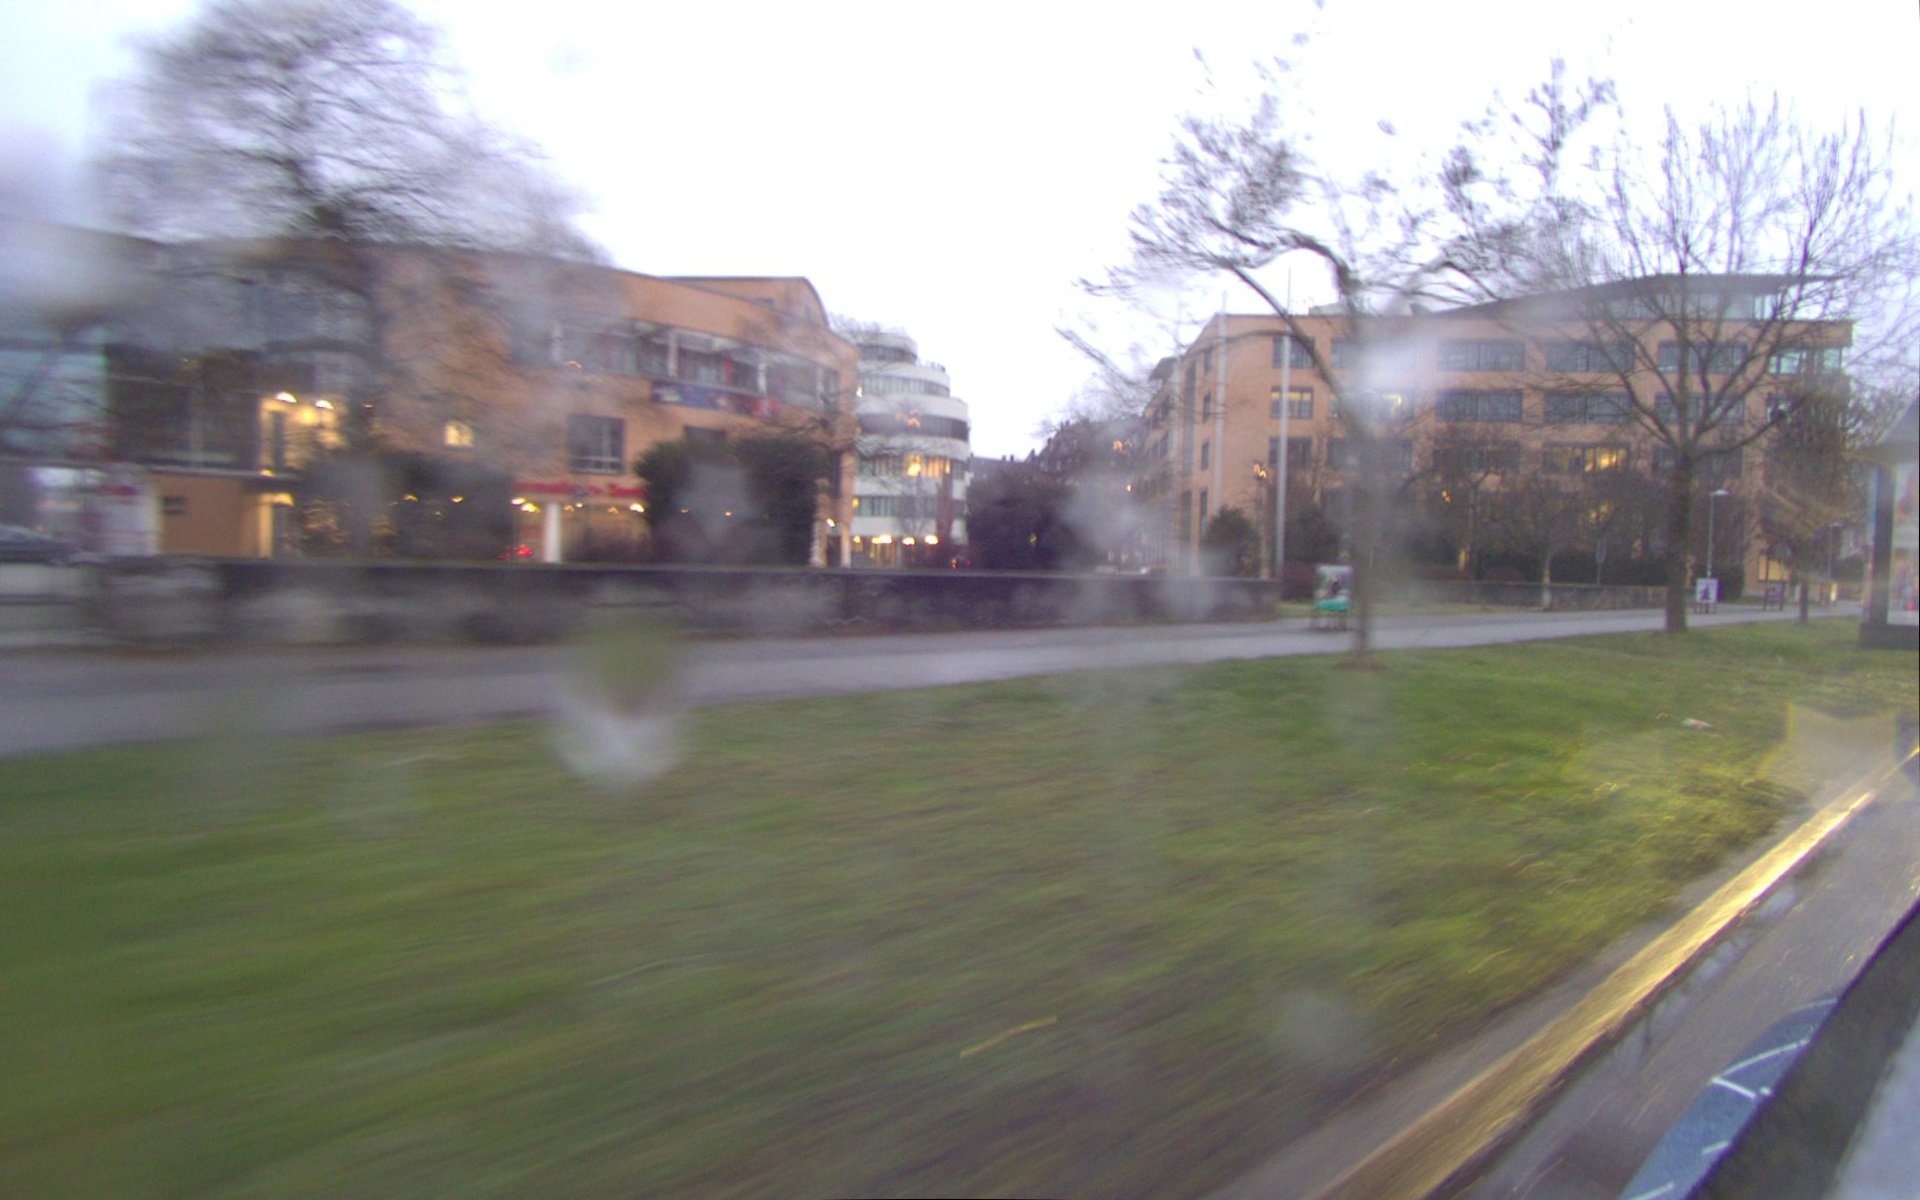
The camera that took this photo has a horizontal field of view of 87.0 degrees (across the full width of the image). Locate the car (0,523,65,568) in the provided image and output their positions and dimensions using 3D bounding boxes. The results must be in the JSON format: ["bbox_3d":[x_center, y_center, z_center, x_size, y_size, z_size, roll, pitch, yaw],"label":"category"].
[{"bbox_3d":[-32.309,-1.837,33.346,3.922,1.415,2.002,0,3,-32],"label":"car"}]
